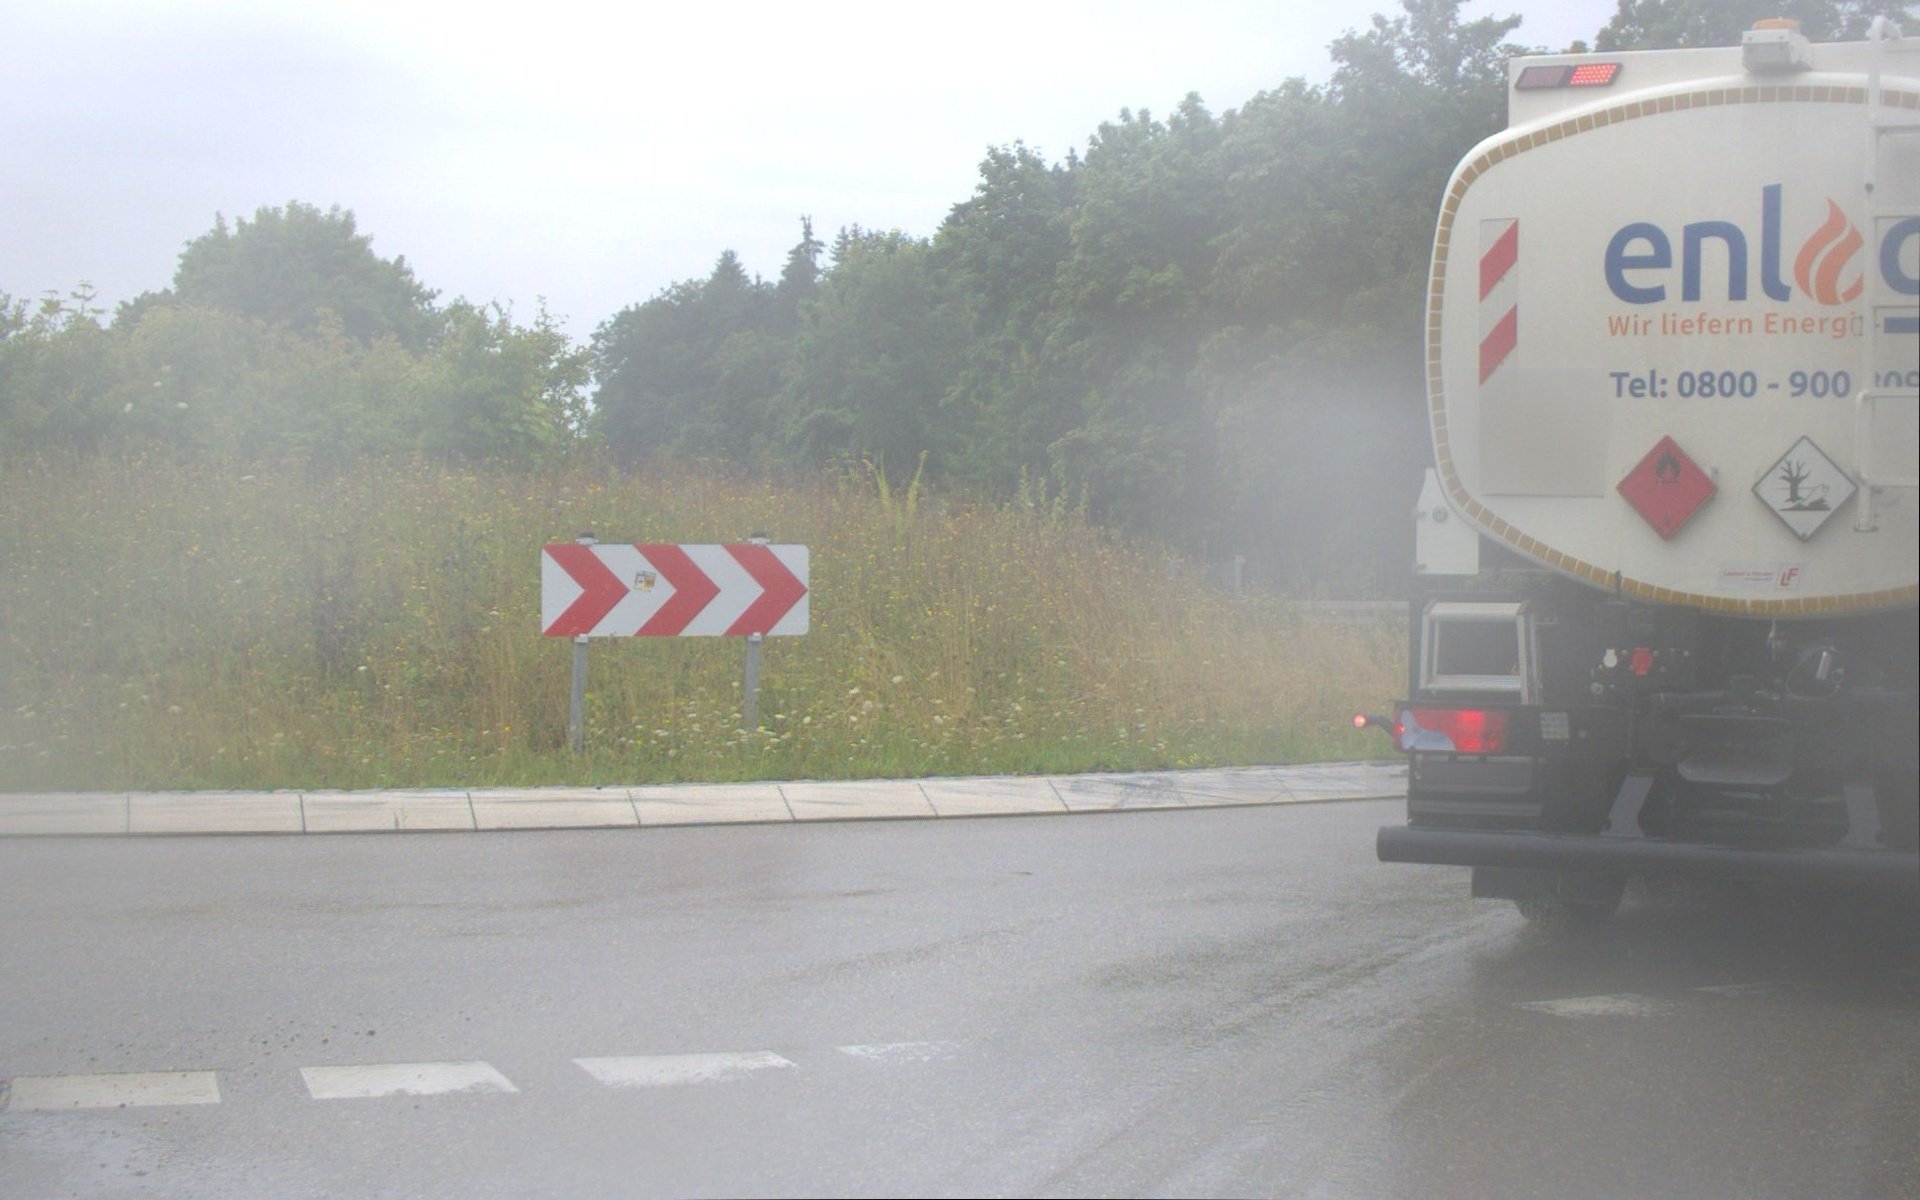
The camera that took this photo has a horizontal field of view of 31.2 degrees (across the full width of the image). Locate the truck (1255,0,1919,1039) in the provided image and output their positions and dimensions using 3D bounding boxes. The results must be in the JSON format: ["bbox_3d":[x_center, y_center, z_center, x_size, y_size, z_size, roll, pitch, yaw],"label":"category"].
[{"bbox_3d":[4.124,-0.593,14.866,3.043,3.838,8.811,1,1,23],"label":"truck"}]
